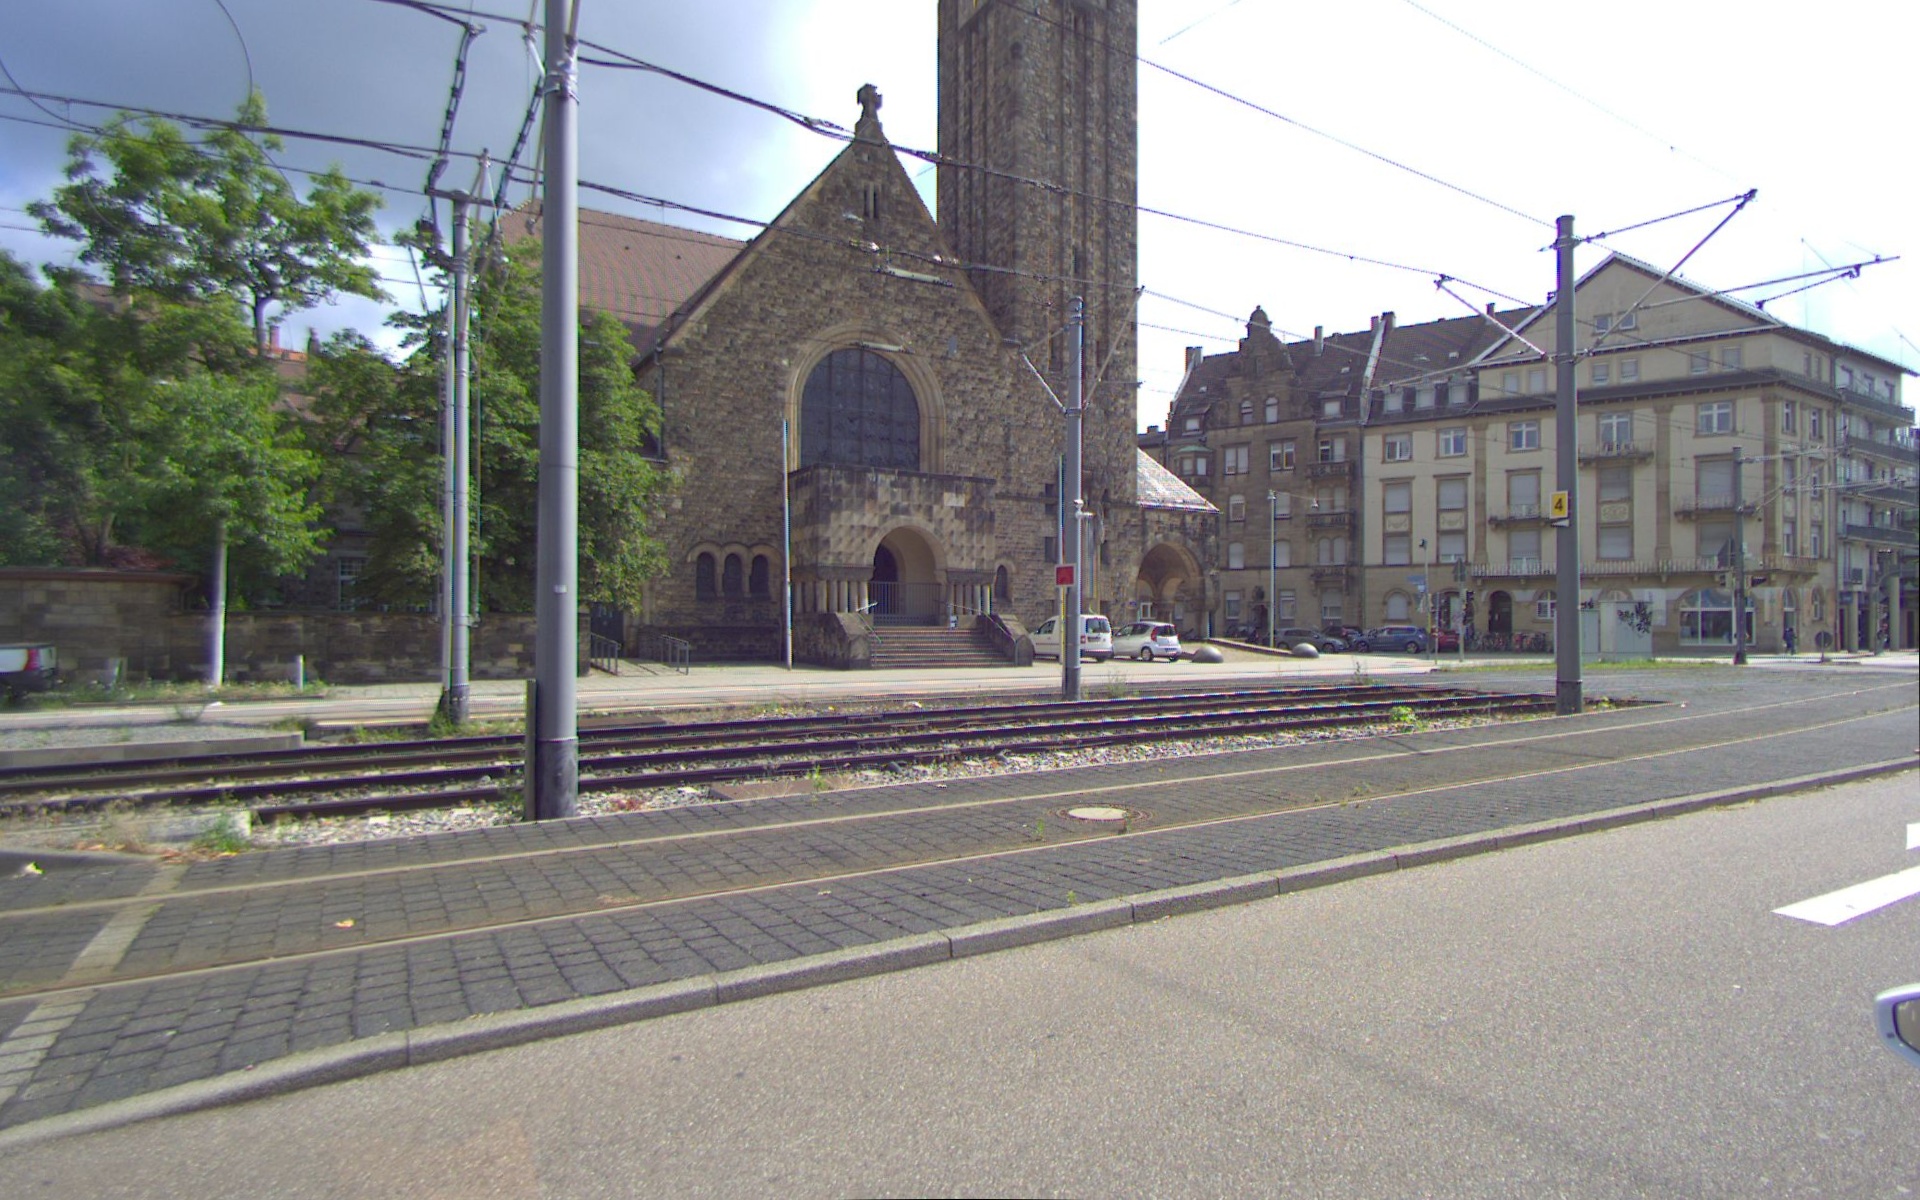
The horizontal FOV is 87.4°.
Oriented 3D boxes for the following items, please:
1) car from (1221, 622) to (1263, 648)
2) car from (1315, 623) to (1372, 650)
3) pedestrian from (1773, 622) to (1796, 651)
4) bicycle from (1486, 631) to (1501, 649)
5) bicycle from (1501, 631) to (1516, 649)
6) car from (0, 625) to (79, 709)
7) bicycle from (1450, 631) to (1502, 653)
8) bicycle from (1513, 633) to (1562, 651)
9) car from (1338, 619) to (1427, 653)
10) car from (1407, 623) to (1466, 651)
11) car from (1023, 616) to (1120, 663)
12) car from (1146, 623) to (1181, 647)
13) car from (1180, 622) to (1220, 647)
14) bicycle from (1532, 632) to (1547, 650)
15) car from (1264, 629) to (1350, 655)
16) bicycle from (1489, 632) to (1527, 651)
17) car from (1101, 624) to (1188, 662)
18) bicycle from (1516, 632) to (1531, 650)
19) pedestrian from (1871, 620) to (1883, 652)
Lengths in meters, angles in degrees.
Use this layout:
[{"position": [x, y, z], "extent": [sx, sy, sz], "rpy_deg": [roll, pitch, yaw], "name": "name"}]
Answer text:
[{"position": [19.888, 2.490, 71.084], "extent": [1.850, 1.782, 4.001], "rpy_deg": [0, -1, 0], "name": "car"}, {"position": [25.539, 2.409, 67.059], "extent": [1.962, 1.695, 3.997], "rpy_deg": [0, -1, -6], "name": "car"}, {"position": [47.142, 2.087, 57.440], "extent": [0.850, 1.617, 0.690], "rpy_deg": [0, -1, -23], "name": "pedestrian"}, {"position": [33.634, 2.498, 63.282], "extent": [0.729, 1.067, 2.360], "rpy_deg": [-1, -2, 30], "name": "bicycle"}, {"position": [34.122, 2.498, 62.491], "extent": [0.729, 1.067, 2.561], "rpy_deg": [-1, -2, 30], "name": "bicycle"}, {"position": [-19.169, 1.225, 18.330], "extent": [4.366, 1.524, 1.920], "rpy_deg": [1, -1, -33], "name": "car"}, {"position": [32.134, 2.601, 62.642], "extent": [0.982, 1.270, 3.312], "rpy_deg": [0, -1, -14], "name": "bicycle"}, {"position": [34.571, 2.485, 60.134], "extent": [2.522, 1.067, 0.681], "rpy_deg": [-1, -2, 32], "name": "bicycle"}, {"position": [25.921, 2.185, 61.707], "extent": [4.726, 2.040, 1.994], "rpy_deg": [-1, -2, 35], "name": "car"}, {"position": [30.224, 2.333, 63.854], "extent": [1.960, 1.696, 4.002], "rpy_deg": [0, -1, 2], "name": "car"}, {"position": [4.418, 1.560, 40.383], "extent": [1.875, 1.772, 3.848], "rpy_deg": [1, -2, -33], "name": "car"}, {"position": [15.077, 2.576, 74.498], "extent": [1.753, 1.750, 4.001], "rpy_deg": [0, -1, 0], "name": "car"}, {"position": [17.373, 2.521, 72.922], "extent": [1.961, 1.760, 4.001], "rpy_deg": [0, -1, 0], "name": "car"}, {"position": [35.511, 2.511, 61.583], "extent": [0.791, 1.067, 2.561], "rpy_deg": [-1, -2, 30], "name": "bicycle"}, {"position": [20.209, 2.438, 58.562], "extent": [4.497, 1.455, 1.701], "rpy_deg": [-1, -2, 36], "name": "car"}, {"position": [32.874, 2.459, 60.288], "extent": [1.938, 1.129, 0.487], "rpy_deg": [-1, -1, 23], "name": "bicycle"}, {"position": [7.570, 1.741, 41.398], "extent": [1.834, 1.522, 3.248], "rpy_deg": [1, -2, -32], "name": "car"}, {"position": [34.790, 2.505, 62.027], "extent": [0.791, 1.067, 2.561], "rpy_deg": [-1, -2, 30], "name": "bicycle"}, {"position": [58.194, 2.297, 63.746], "extent": [0.415, 2.040, 0.474], "rpy_deg": [1, -1, -35], "name": "pedestrian"}]
